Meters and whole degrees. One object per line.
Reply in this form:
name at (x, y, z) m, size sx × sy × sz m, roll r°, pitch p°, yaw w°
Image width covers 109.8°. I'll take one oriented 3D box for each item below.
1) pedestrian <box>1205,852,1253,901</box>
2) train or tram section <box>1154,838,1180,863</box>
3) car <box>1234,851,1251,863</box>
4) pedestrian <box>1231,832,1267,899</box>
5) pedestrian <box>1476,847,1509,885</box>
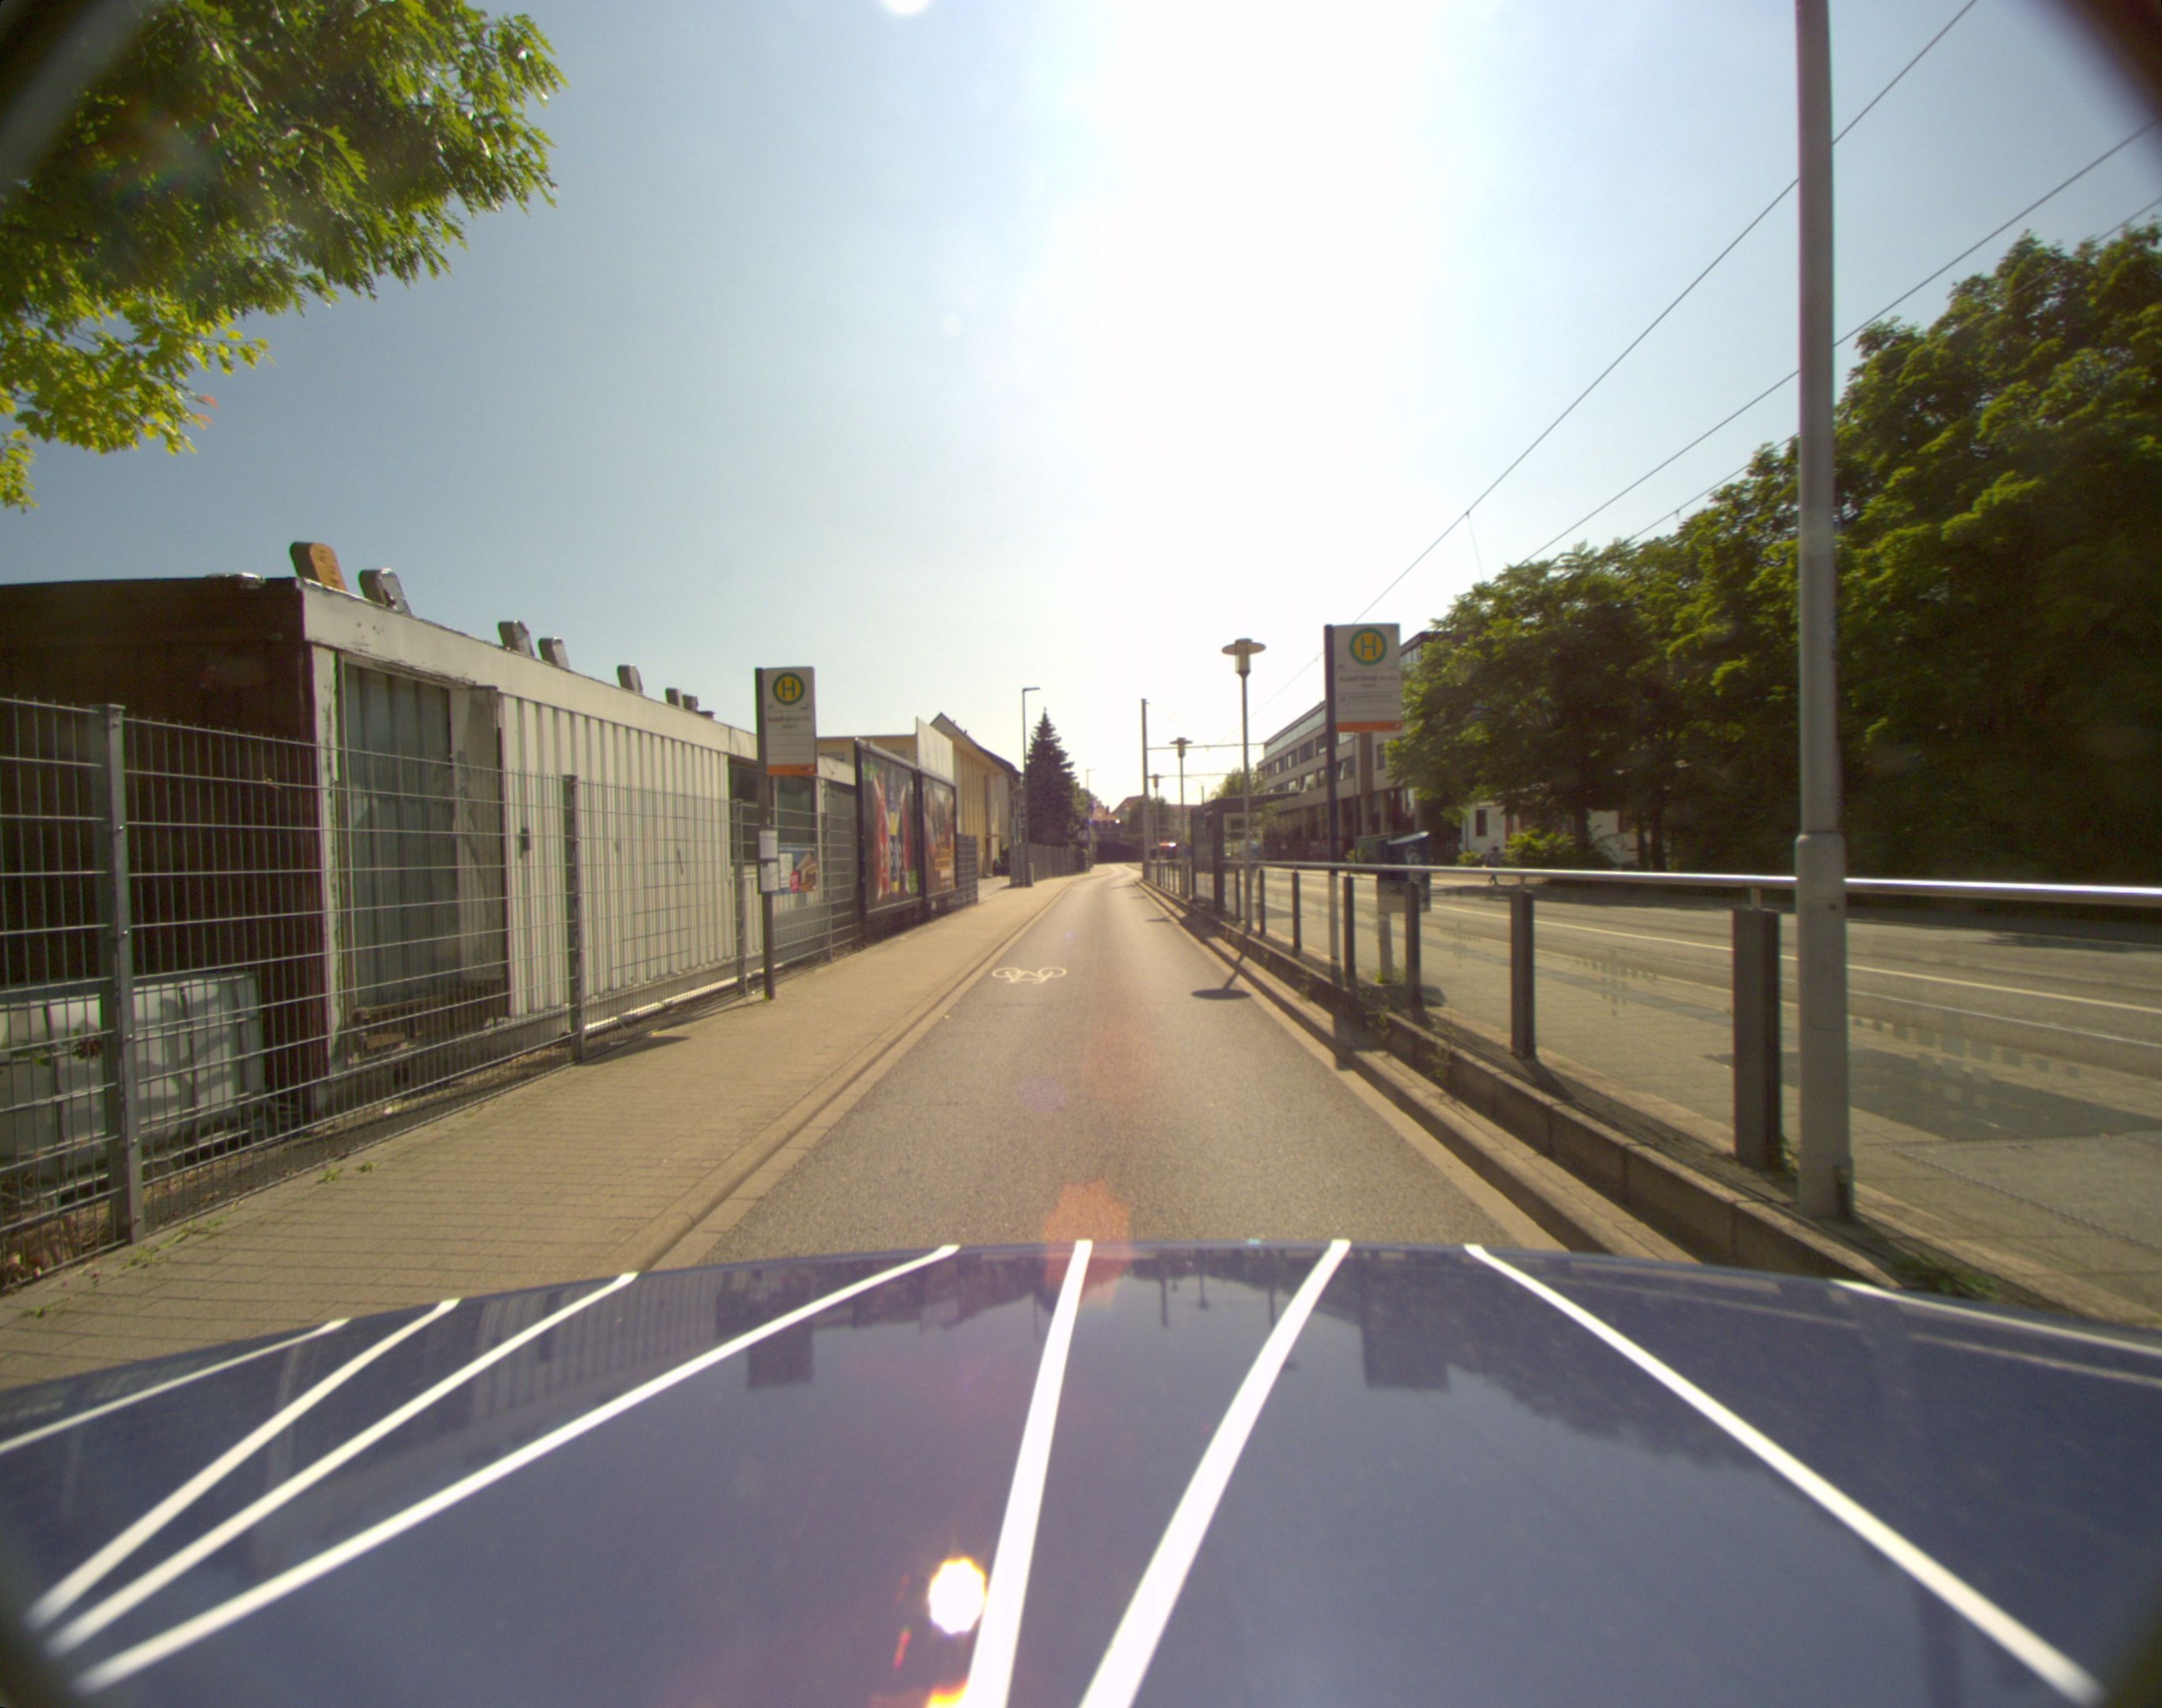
pedestrian at (3.478, 0.525, 17.919) m, size 0.945 × 1.093 × 0.726 m, roll -2°, pitch 0°, yaw 1°
train or tram section at (12.495, -0.507, 111.231) m, size 2.680 × 3.464 × 12.329 m, roll -1°, pitch 0°, yaw 2°
car at (22.029, 0.358, 103.745) m, size 1.997 × 1.613 × 4.003 m, roll 0°, pitch 0°, yaw 9°
pedestrian at (4.440, 0.308, 20.158) m, size 0.725 × 1.714 × 0.945 m, roll -2°, pitch 0°, yaw 2°
pedestrian at (16.833, 0.476, 31.064) m, size 0.873 × 1.518 × 0.846 m, roll -1°, pitch 0°, yaw 1°
